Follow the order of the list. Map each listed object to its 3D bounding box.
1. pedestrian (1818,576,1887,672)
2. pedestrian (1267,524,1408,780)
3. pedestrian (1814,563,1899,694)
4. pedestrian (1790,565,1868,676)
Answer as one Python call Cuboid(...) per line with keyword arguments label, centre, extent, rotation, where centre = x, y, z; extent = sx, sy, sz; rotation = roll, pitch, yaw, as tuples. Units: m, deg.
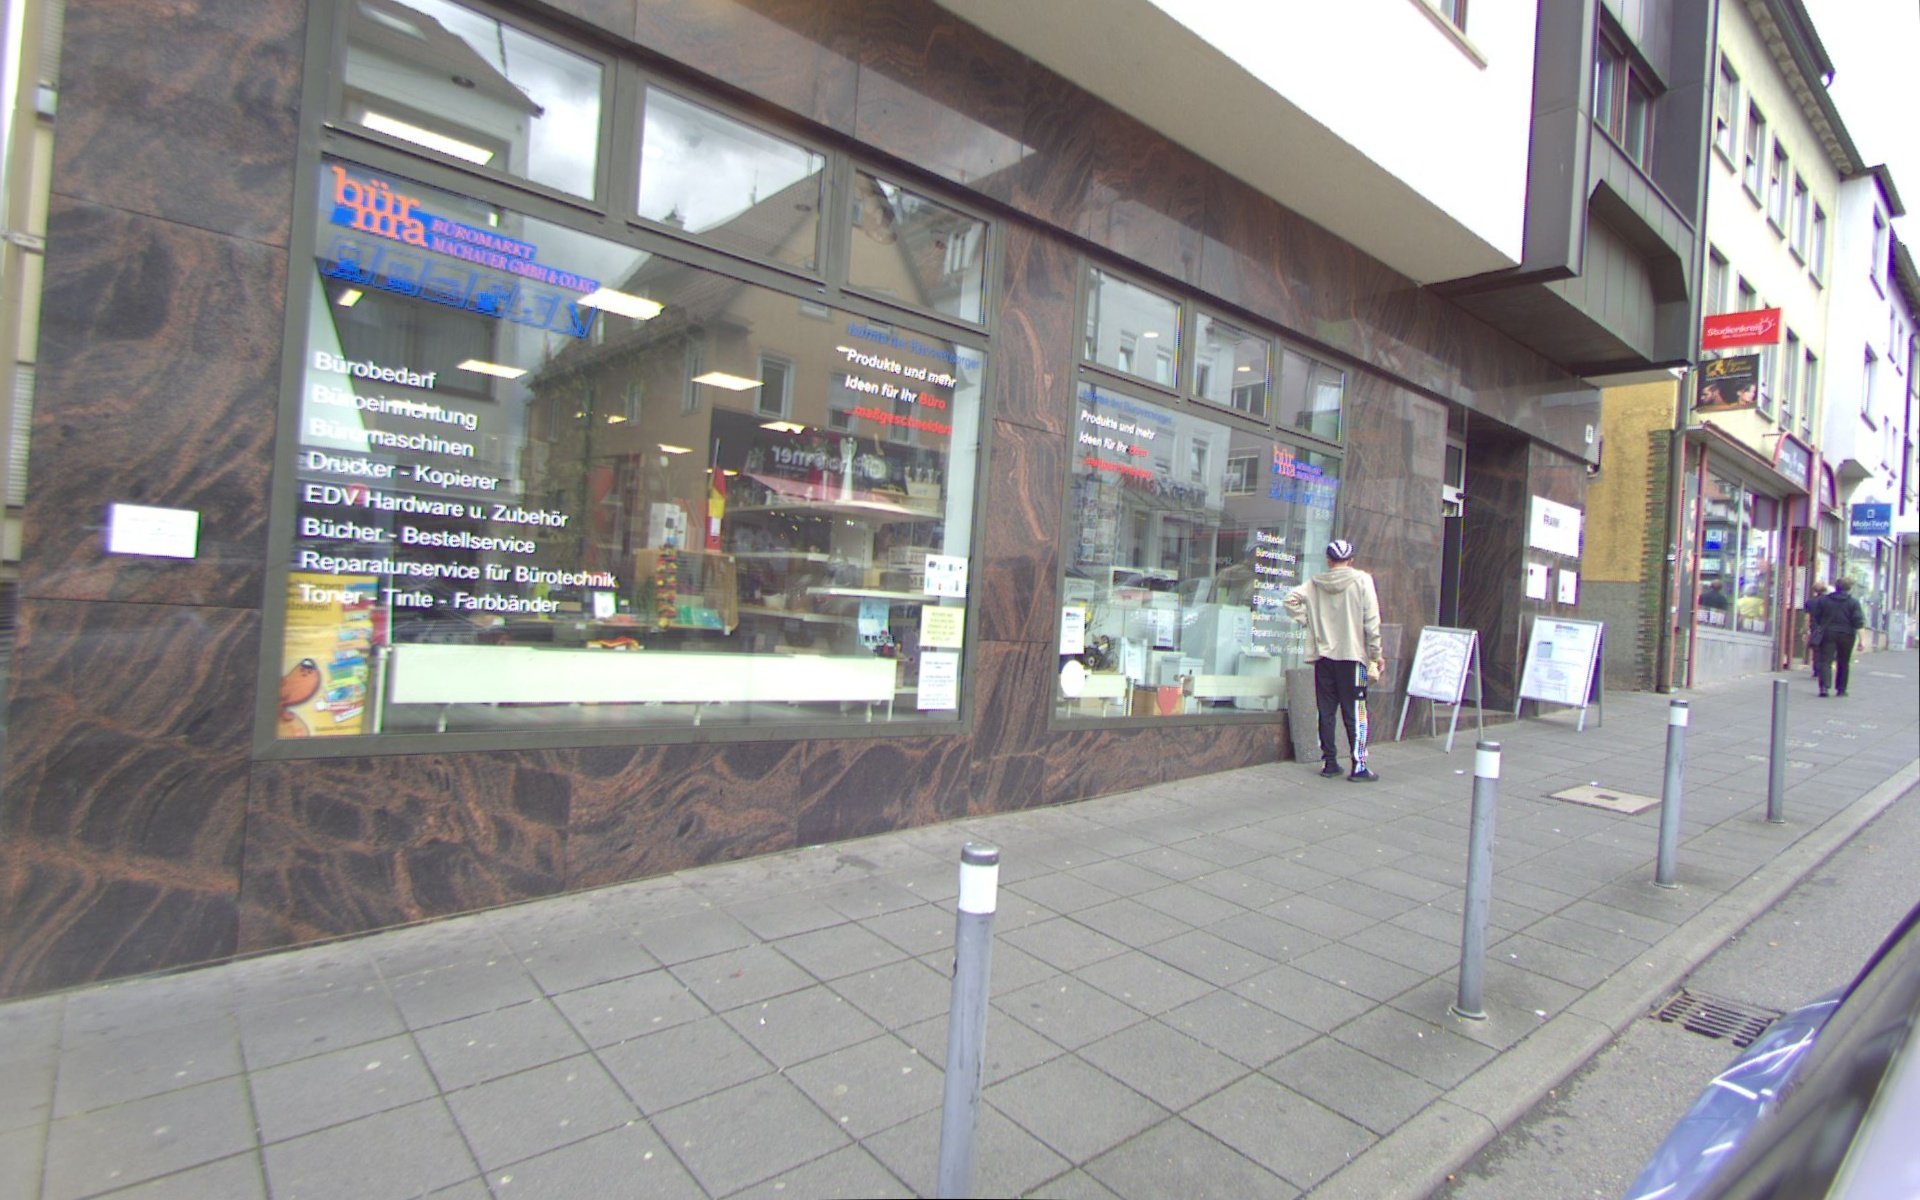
Cuboid(label="pedestrian", centre=(16.072, 0.417, 18.228), extent=(0.820, 1.651, 0.713), rotation=(1, 3, -40))
Cuboid(label="pedestrian", centre=(2.696, 0.340, 7.245), extent=(0.663, 1.709, 0.535), rotation=(7, 4, 44))
Cuboid(label="pedestrian", centre=(12.718, 0.385, 14.362), extent=(0.773, 1.774, 0.713), rotation=(1, 3, -40))
Cuboid(label="pedestrian", centre=(14.591, 0.330, 16.999), extent=(0.771, 1.773, 0.713), rotation=(1, 5, -40))
